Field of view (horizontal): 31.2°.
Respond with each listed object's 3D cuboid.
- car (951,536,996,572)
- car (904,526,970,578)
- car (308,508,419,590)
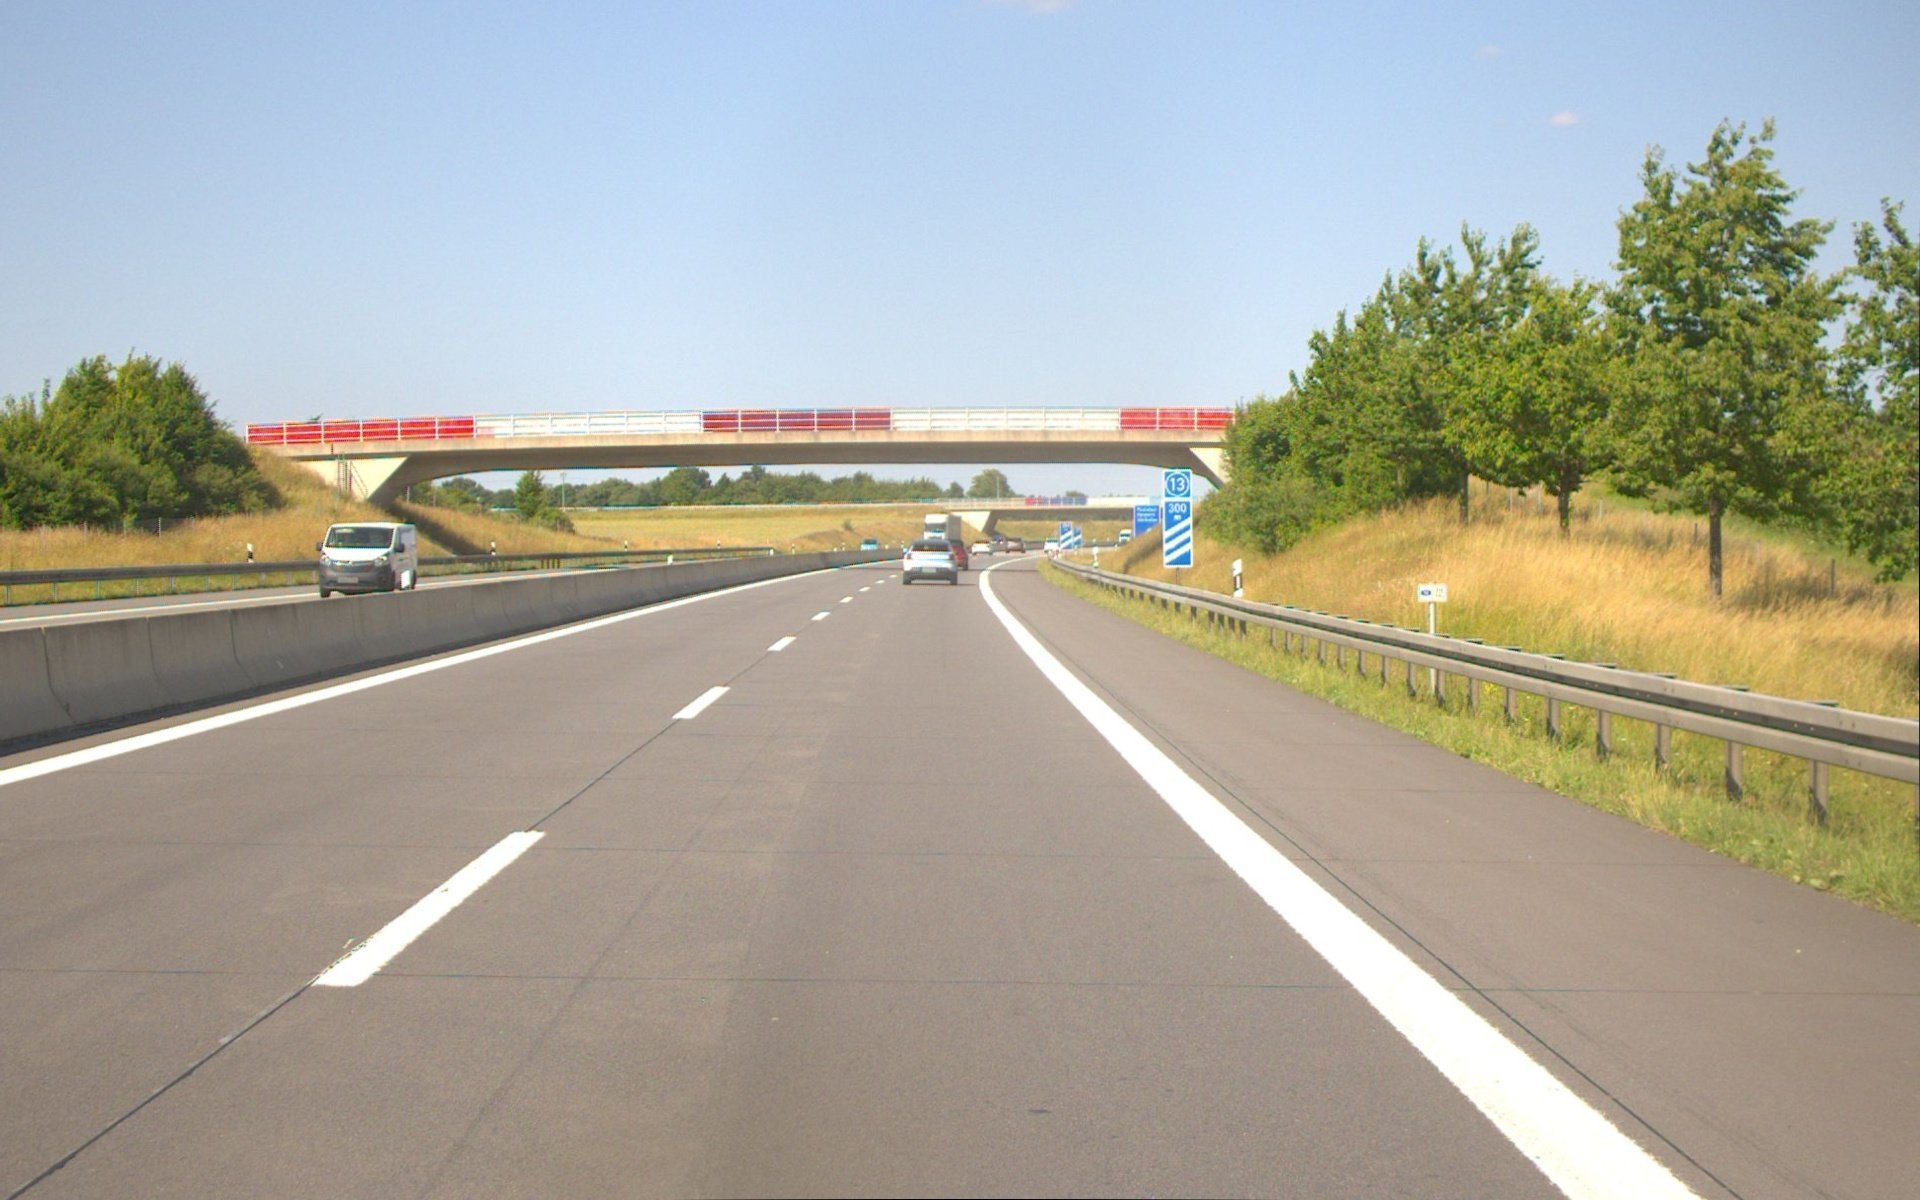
[{"bbox_3d":[0.683,-2.282,169.507,1.994,1.725,4.869,-1,1,2],"label":"car"},{"bbox_3d":[-0.816,-1.640,117.186,1.993,1.725,4.870,-1,1,-3],"label":"car"},{"bbox_3d":[-15.581,-1.316,90.033,1.993,2.007,5.716,2,0,-2],"label":"car"}]
